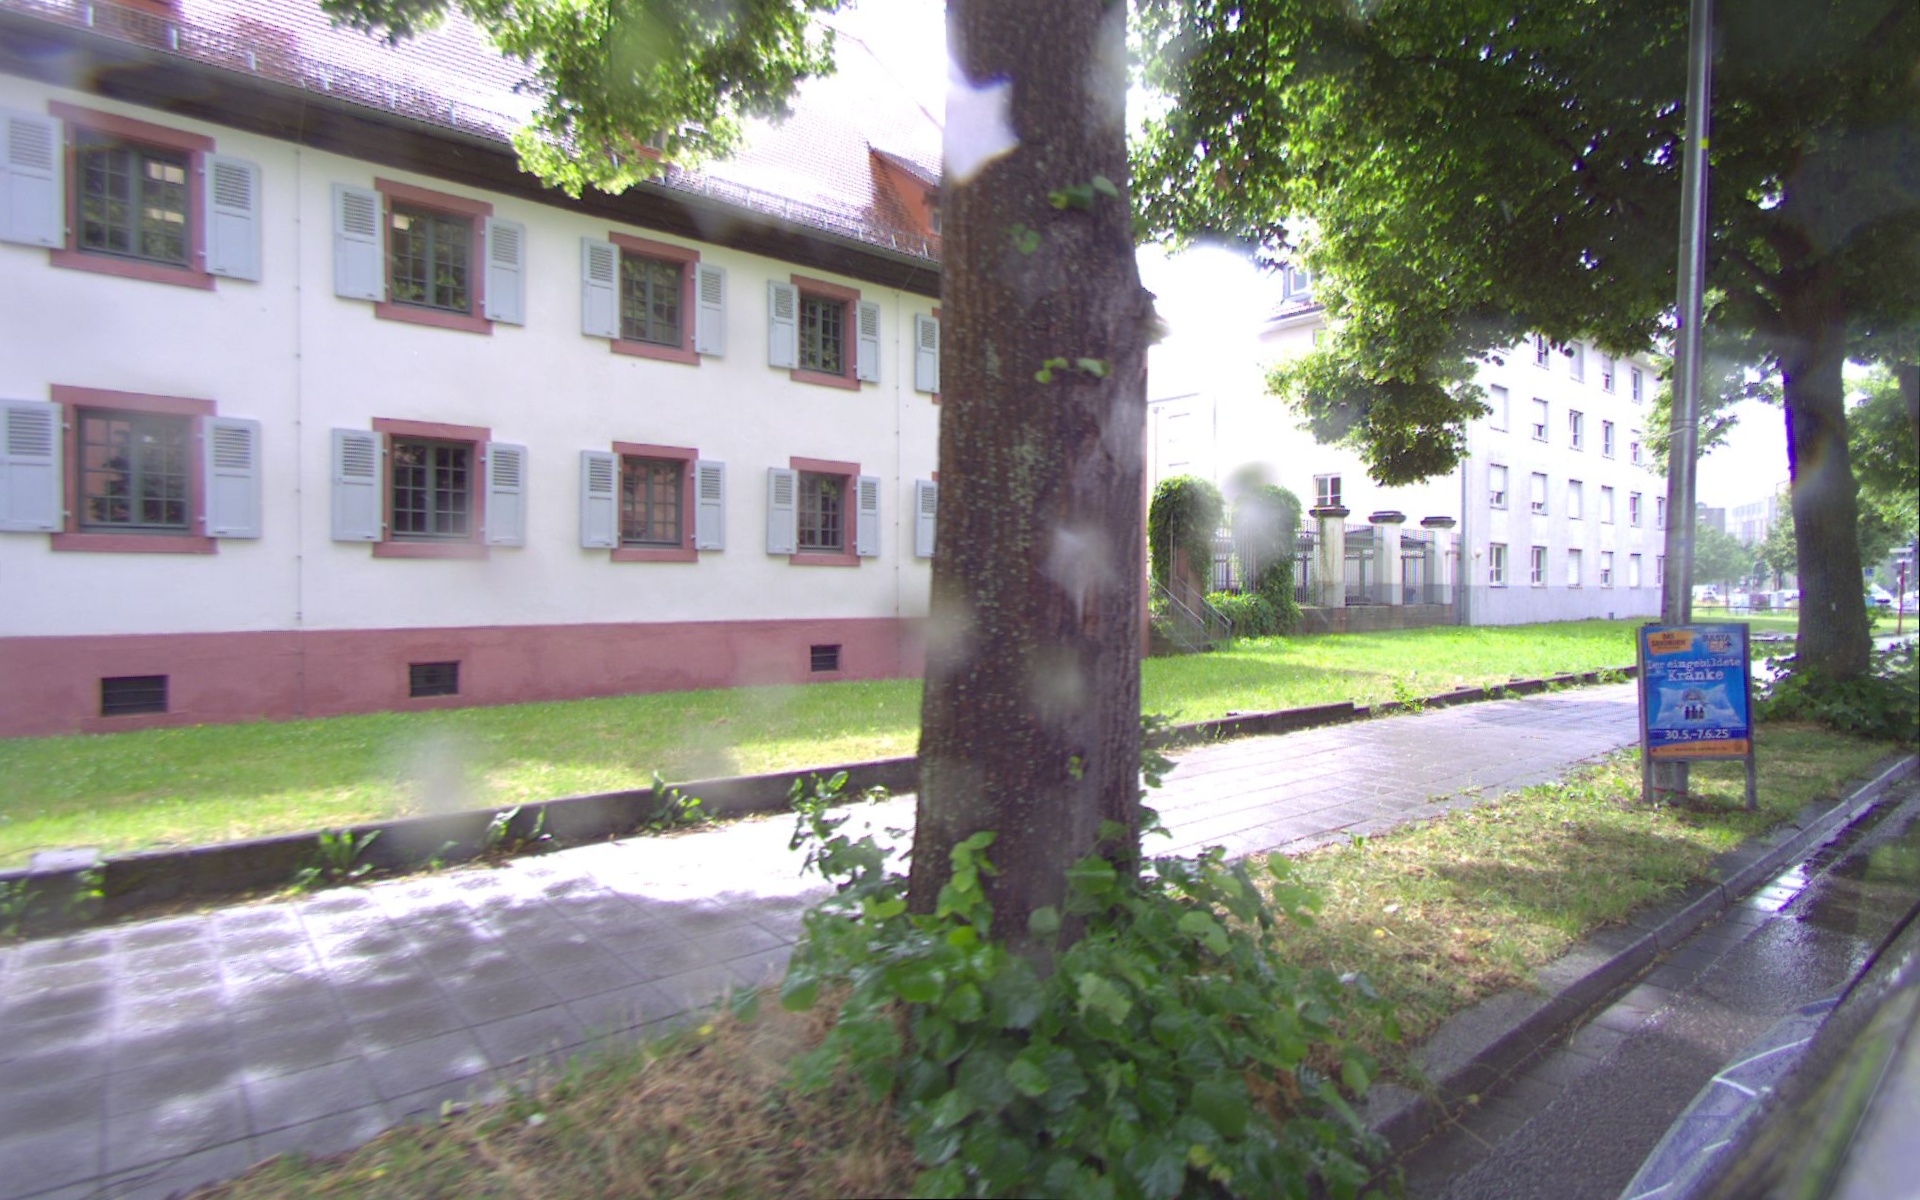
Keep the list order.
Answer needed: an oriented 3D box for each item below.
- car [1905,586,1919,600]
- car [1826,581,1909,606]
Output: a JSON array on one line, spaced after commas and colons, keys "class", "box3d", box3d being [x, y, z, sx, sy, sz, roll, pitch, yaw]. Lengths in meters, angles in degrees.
[{"class": "car", "box3d": [104.670, -0.727, 108.811, 4.065, 1.549, 1.659, 0, 0, 19]}, {"class": "car", "box3d": [66.752, -0.491, 74.507, 1.853, 1.735, 4.238, 0, 1, -11]}]
